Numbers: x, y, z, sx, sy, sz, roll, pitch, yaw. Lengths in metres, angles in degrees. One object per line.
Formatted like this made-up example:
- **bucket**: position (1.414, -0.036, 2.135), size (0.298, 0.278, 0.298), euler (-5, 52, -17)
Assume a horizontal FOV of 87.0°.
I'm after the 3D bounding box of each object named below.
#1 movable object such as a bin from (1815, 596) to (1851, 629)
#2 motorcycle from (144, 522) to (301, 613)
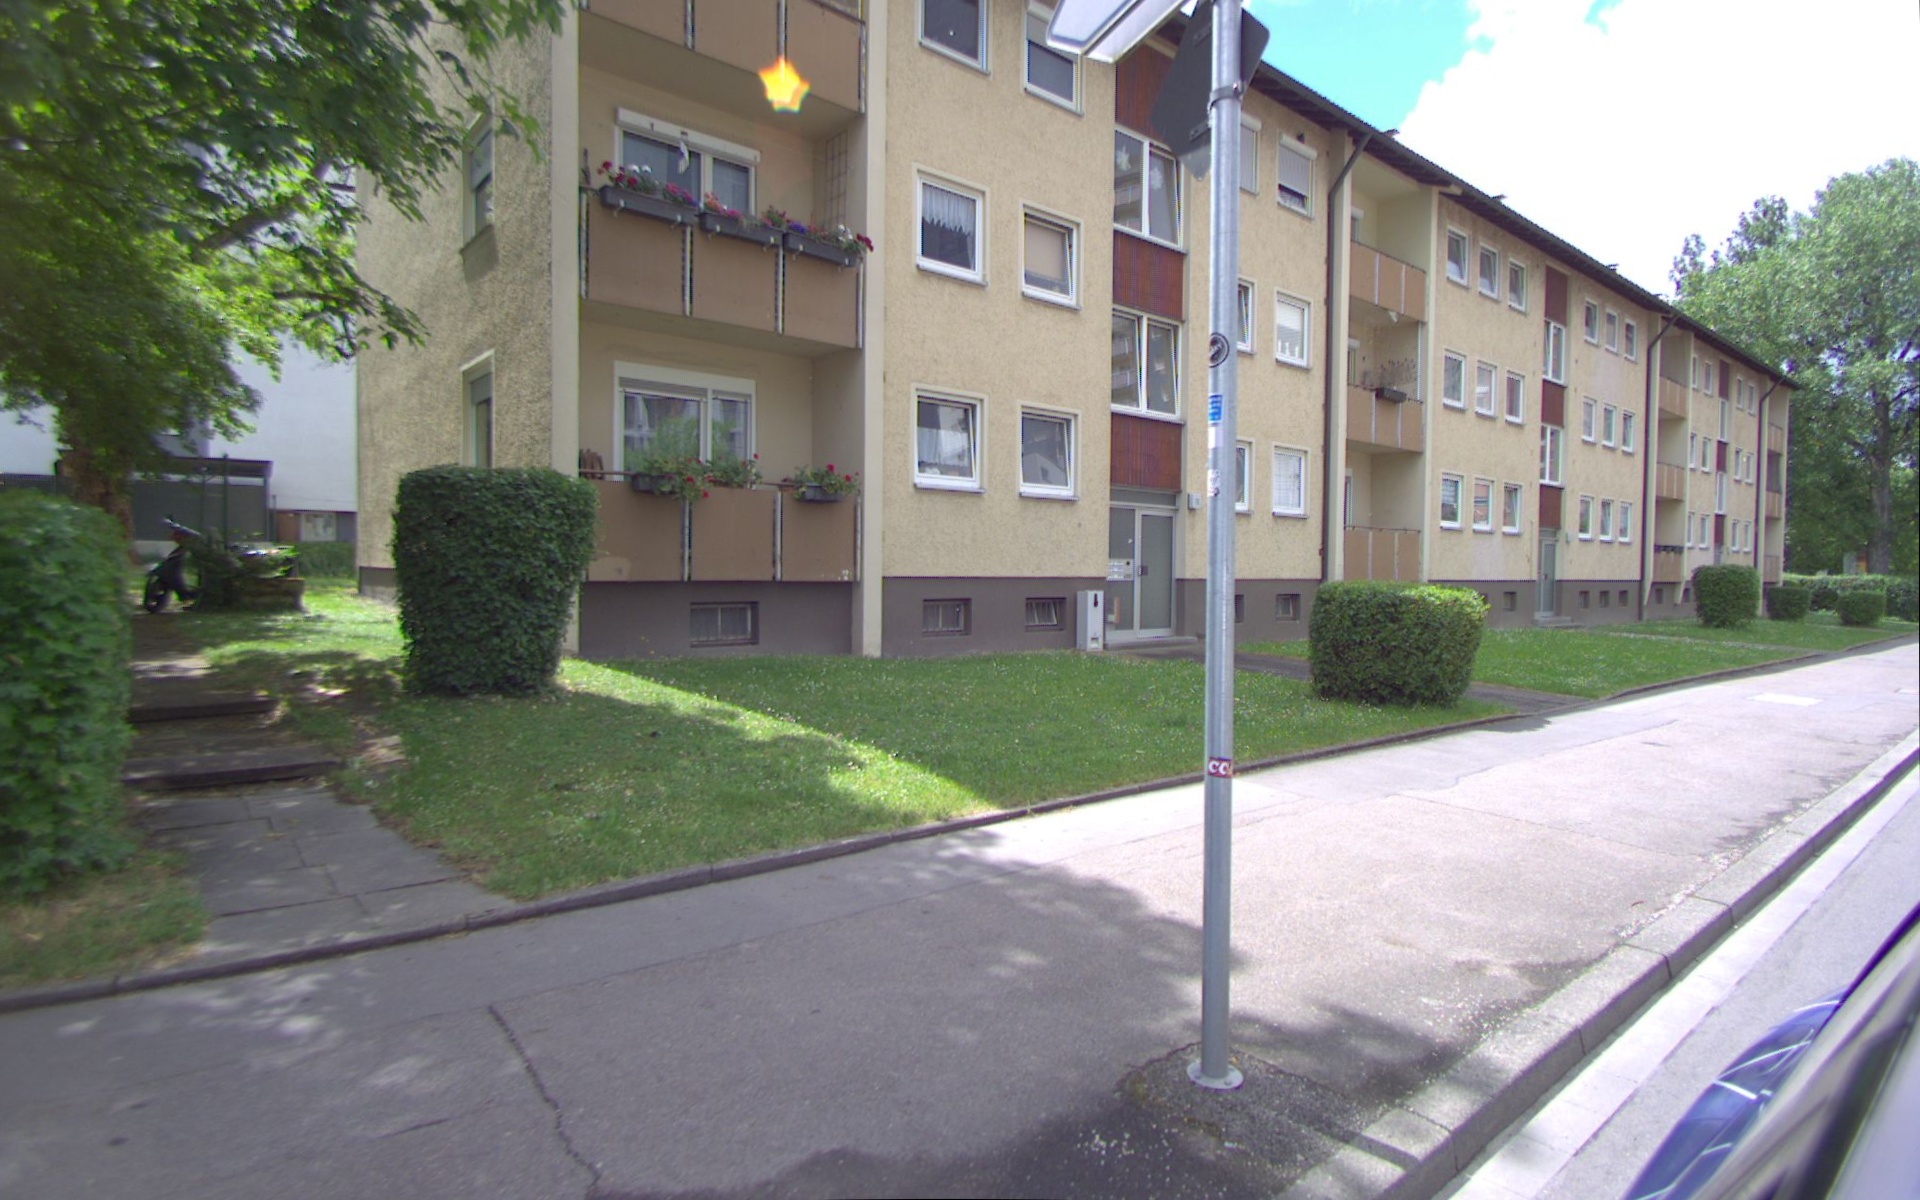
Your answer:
- **movable object such as a bin**: position (40.065, 0.583, 46.455), size (0.748, 1.456, 1.099), euler (2, 1, -43)
- **motorcycle**: position (-10.029, -0.424, 13.793), size (1.641, 1.147, 0.712), euler (2, 1, -42)
